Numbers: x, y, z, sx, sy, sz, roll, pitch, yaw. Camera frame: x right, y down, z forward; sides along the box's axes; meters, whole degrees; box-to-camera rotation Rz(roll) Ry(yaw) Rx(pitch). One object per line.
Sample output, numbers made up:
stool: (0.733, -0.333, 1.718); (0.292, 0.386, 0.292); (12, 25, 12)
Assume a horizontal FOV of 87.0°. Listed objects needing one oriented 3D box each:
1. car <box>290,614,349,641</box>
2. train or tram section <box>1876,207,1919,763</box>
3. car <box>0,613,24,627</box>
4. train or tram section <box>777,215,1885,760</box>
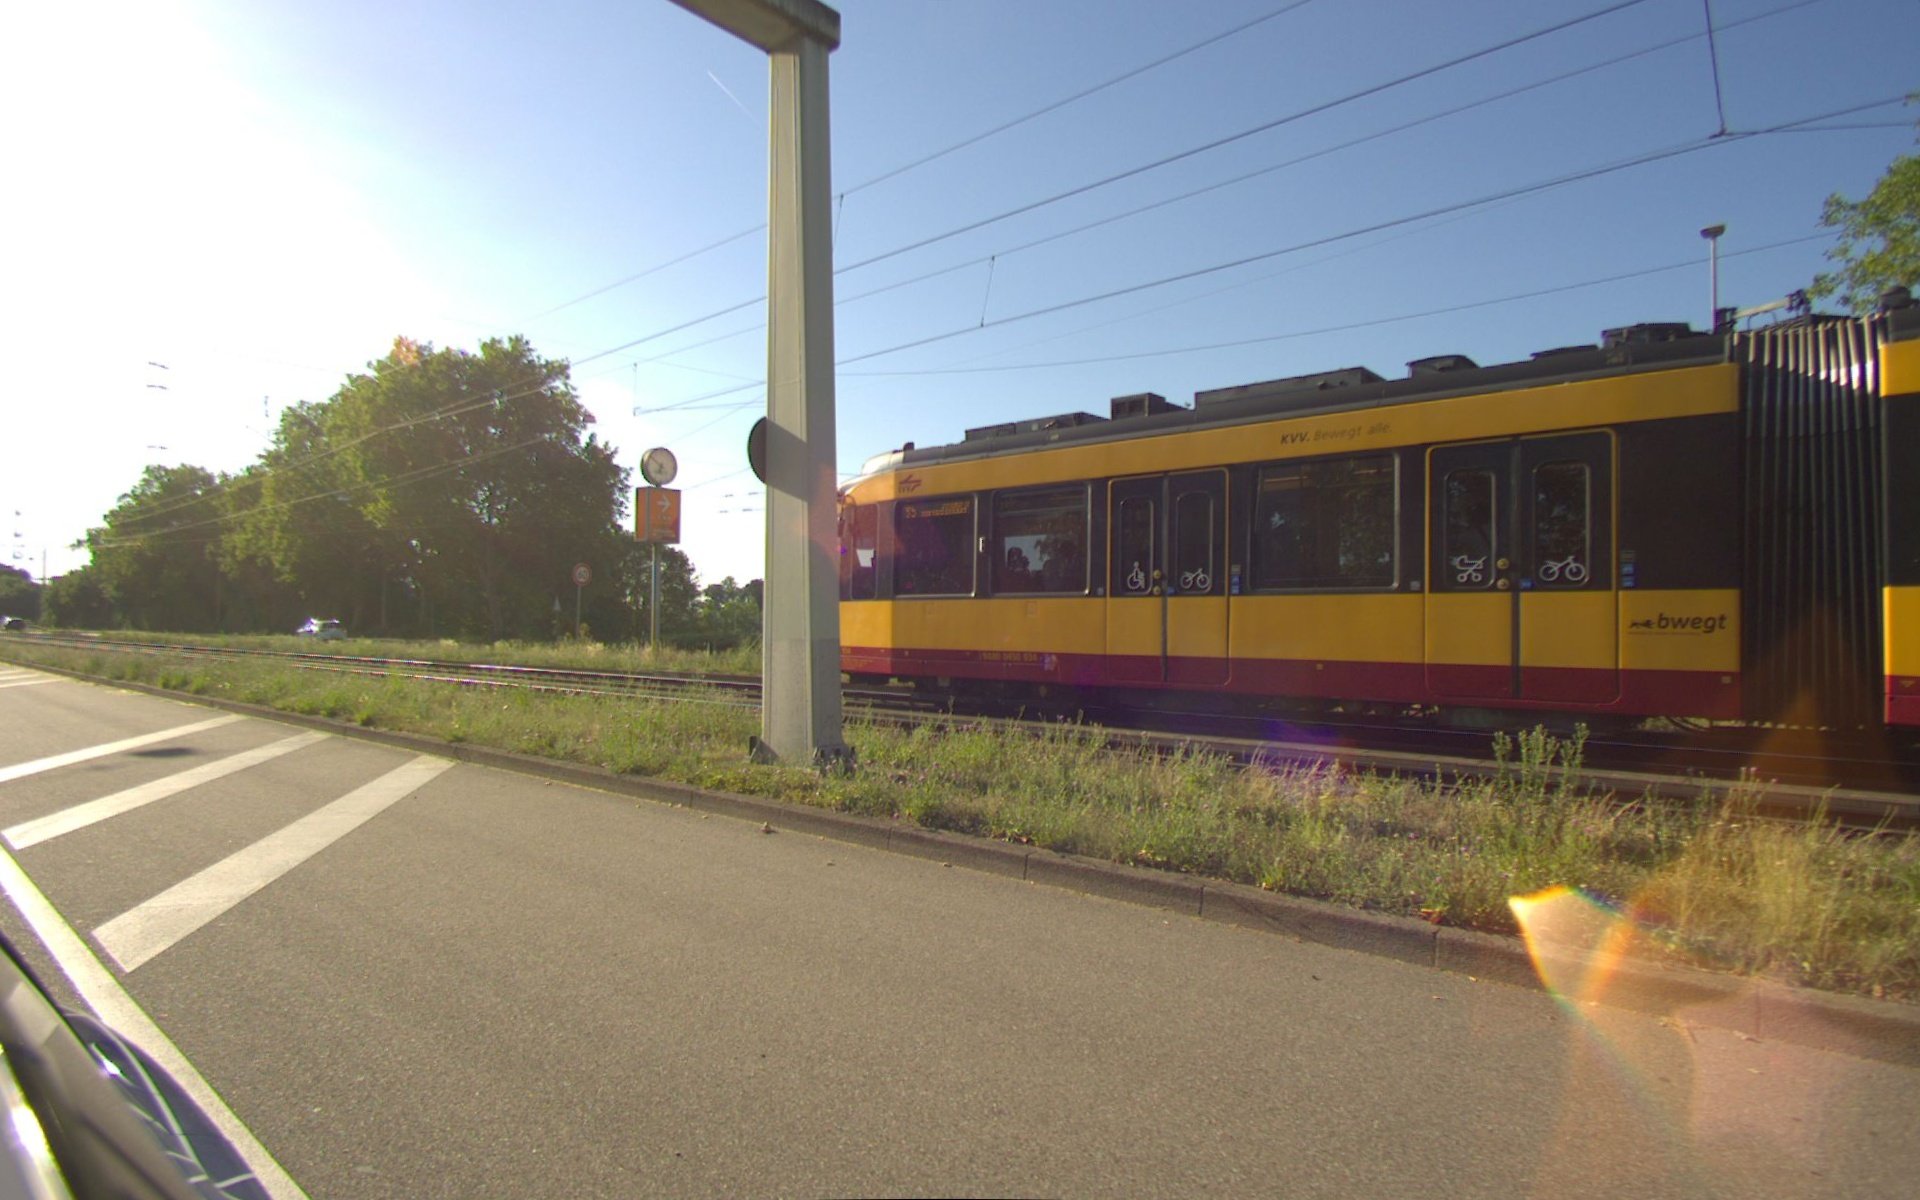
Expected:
car: (-40.913, 1.716, 64.580); (4.264, 1.537, 1.639); (2, 0, 35)
train or tram section: (12.180, -0.892, 4.400); (11.982, 3.932, 2.776); (-1, 0, 40)
car: (-123.441, 2.591, 131.615); (4.936, 1.707, 1.879); (-1, -3, 39)
train or tram section: (2.833, -0.768, 12.363); (12.323, 3.932, 2.776); (-1, 0, 40)
